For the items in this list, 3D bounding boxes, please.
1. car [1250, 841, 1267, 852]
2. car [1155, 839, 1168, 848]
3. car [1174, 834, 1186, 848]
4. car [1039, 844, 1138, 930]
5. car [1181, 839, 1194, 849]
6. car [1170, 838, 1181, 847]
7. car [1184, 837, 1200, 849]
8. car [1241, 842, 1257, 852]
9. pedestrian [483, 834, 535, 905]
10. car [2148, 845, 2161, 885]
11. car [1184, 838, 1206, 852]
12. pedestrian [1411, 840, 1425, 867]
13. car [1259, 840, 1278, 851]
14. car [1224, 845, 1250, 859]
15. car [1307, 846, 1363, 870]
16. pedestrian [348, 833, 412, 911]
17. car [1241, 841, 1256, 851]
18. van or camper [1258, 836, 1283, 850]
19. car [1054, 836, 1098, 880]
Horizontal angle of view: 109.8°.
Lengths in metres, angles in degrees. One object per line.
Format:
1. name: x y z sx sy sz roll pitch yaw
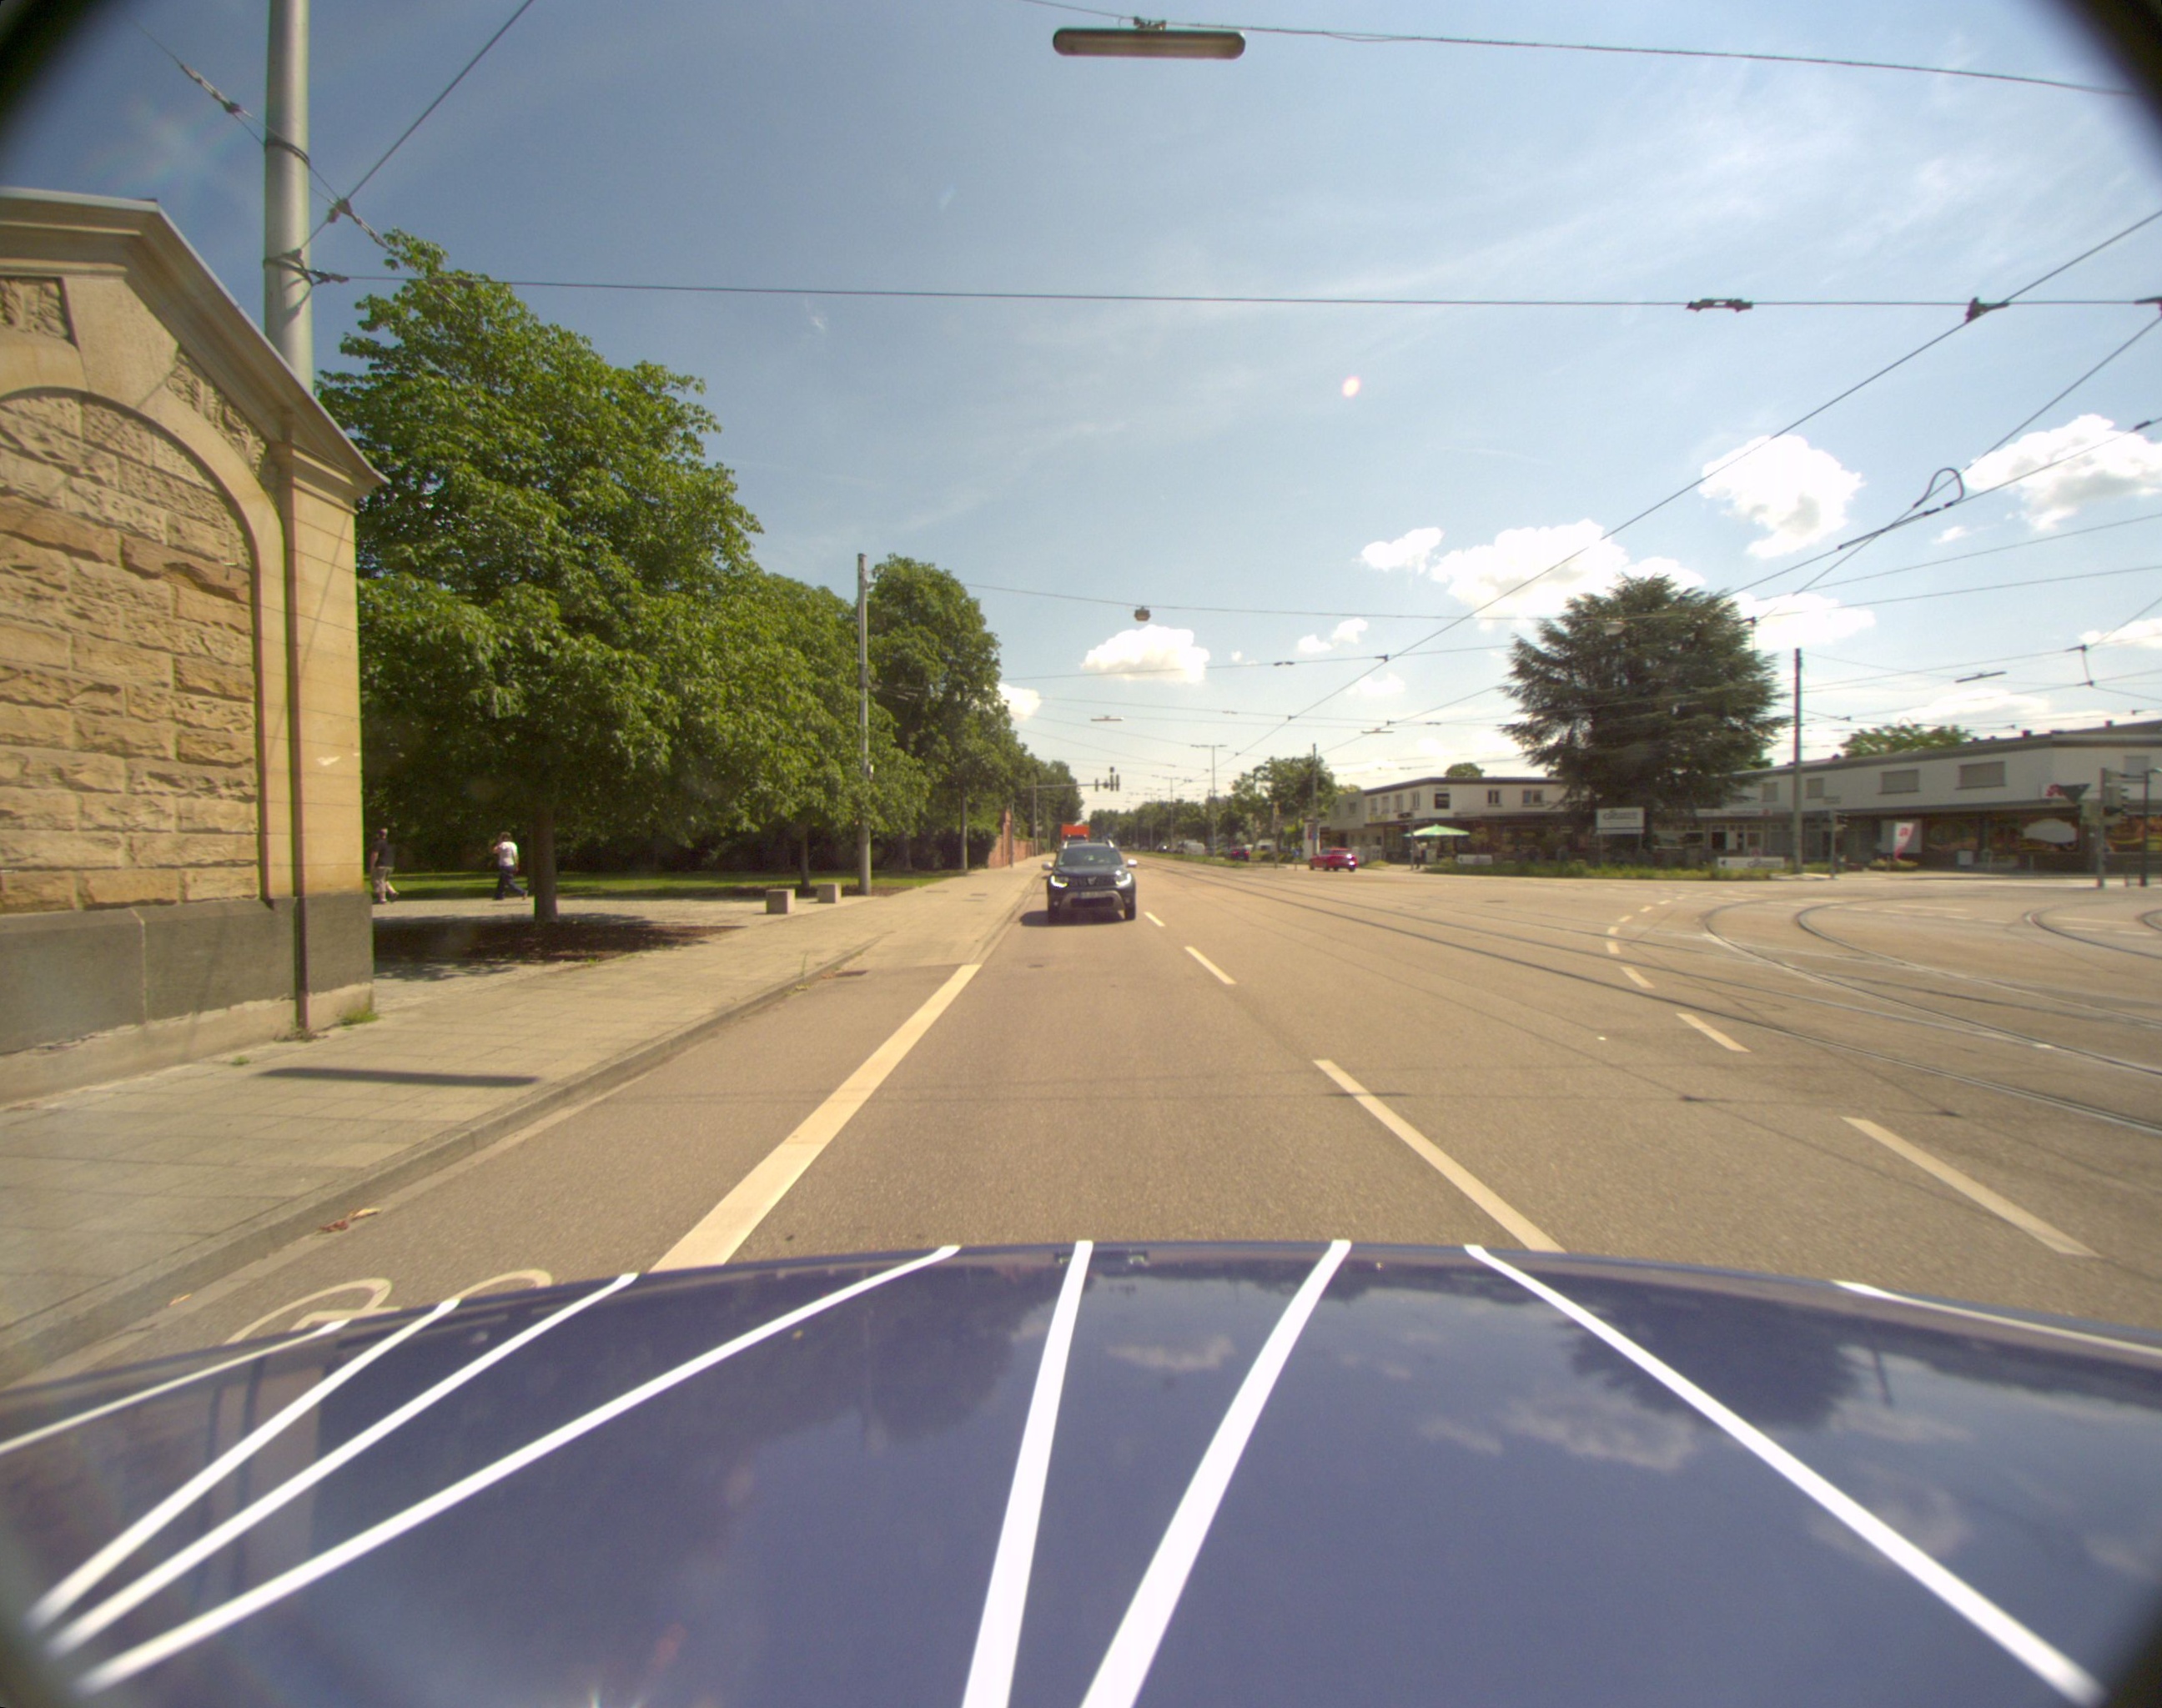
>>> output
1. car: 28.298 -1.259 121.032 1.745 1.684 3.999 0 1 -1
2. car: 14.342 -1.818 135.165 1.745 1.587 3.999 0 1 -1
3. car: 18.949 -2.493 145.223 1.745 2.574 3.999 0 1 -1
4. car: 0.203 0.599 16.758 1.846 1.565 4.487 -2 1 1
5. car: 19.287 -1.851 137.494 1.745 1.684 3.999 0 1 -1
6. car: 19.112 -2.302 154.000 1.745 1.684 3.999 0 1 -1
7. car: 19.050 -1.900 130.726 1.967 1.954 3.999 0 1 -1
8. car: 28.627 -1.270 129.197 1.745 1.684 3.999 0 1 -1
9. pedestrian: -14.639 0.376 19.458 0.677 1.788 0.809 0 1 3
10. car: 48.089 0.481 31.809 3.997 1.718 1.999 0 1 -1
11. car: 14.734 -1.176 98.422 1.863 1.865 4.553 0 1 -4
12. pedestrian: 22.742 -0.014 51.257 0.488 1.765 0.682 -5 3 -19
13. car: 28.556 -1.338 115.833 1.745 1.684 3.999 0 1 -1
14. car: 15.674 -0.189 76.364 1.784 1.346 3.999 0 1 -1
15. car: 16.237 0.196 48.845 1.998 1.441 4.820 0 1 1
16. pedestrian: -16.243 0.408 17.622 0.677 1.770 0.809 0 1 3
17. car: 29.618 -1.377 134.598 1.745 1.684 3.999 0 1 -1
18. van or camper: 43.129 -2.590 172.913 5.158 3.100 2.246 0 1 -1
19. car: -0.257 0.140 37.210 1.999 2.002 3.998 0 1 -1
